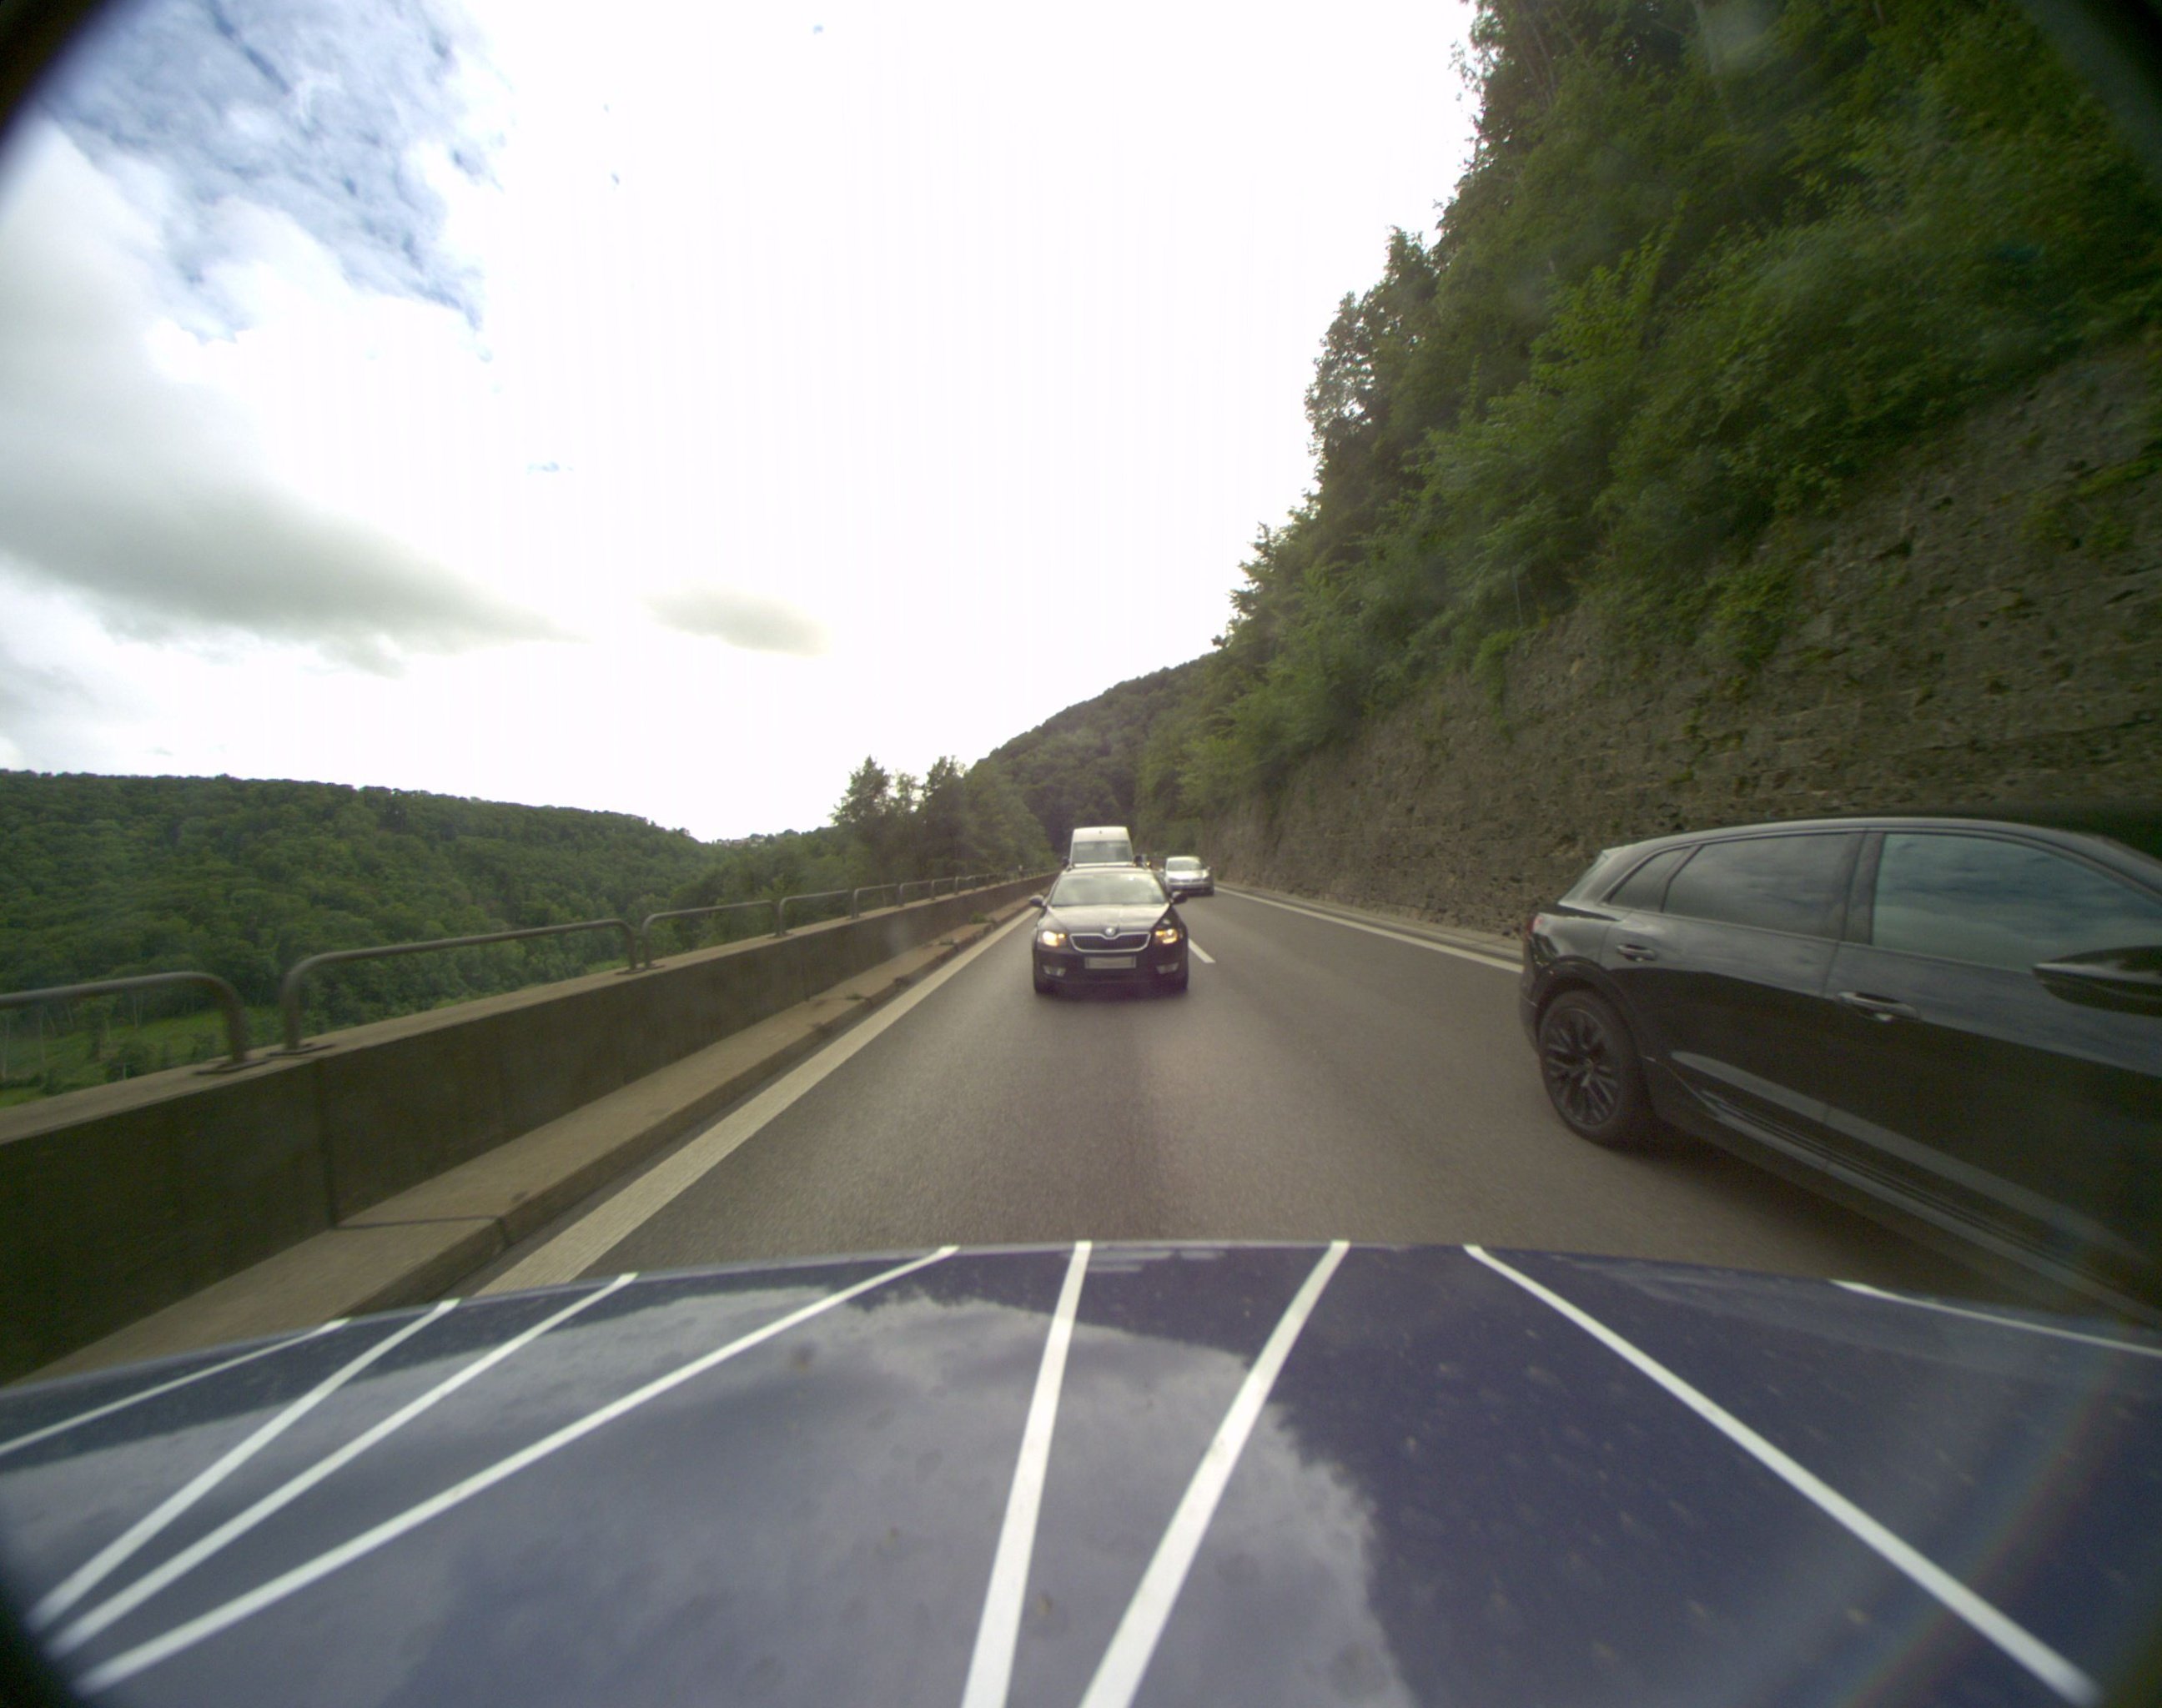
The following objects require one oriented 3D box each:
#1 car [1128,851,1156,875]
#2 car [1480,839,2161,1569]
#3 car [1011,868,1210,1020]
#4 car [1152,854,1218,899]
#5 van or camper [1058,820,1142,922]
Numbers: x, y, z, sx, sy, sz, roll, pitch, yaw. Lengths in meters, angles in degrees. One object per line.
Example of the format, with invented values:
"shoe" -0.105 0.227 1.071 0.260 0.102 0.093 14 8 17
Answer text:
"car" 4.749 0.690 59.605 1.813 1.646 4.583 -4 0 1
"car" 3.413 0.772 2.145 1.998 1.622 5.008 -1 0 1
"car" 0.380 0.982 10.326 1.998 1.389 5.008 -2 0 2
"car" 3.876 0.805 29.066 1.686 1.506 4.582 -2 0 -2
"van or camper" 0.616 0.470 23.175 2.081 2.575 5.913 -4 0 2
